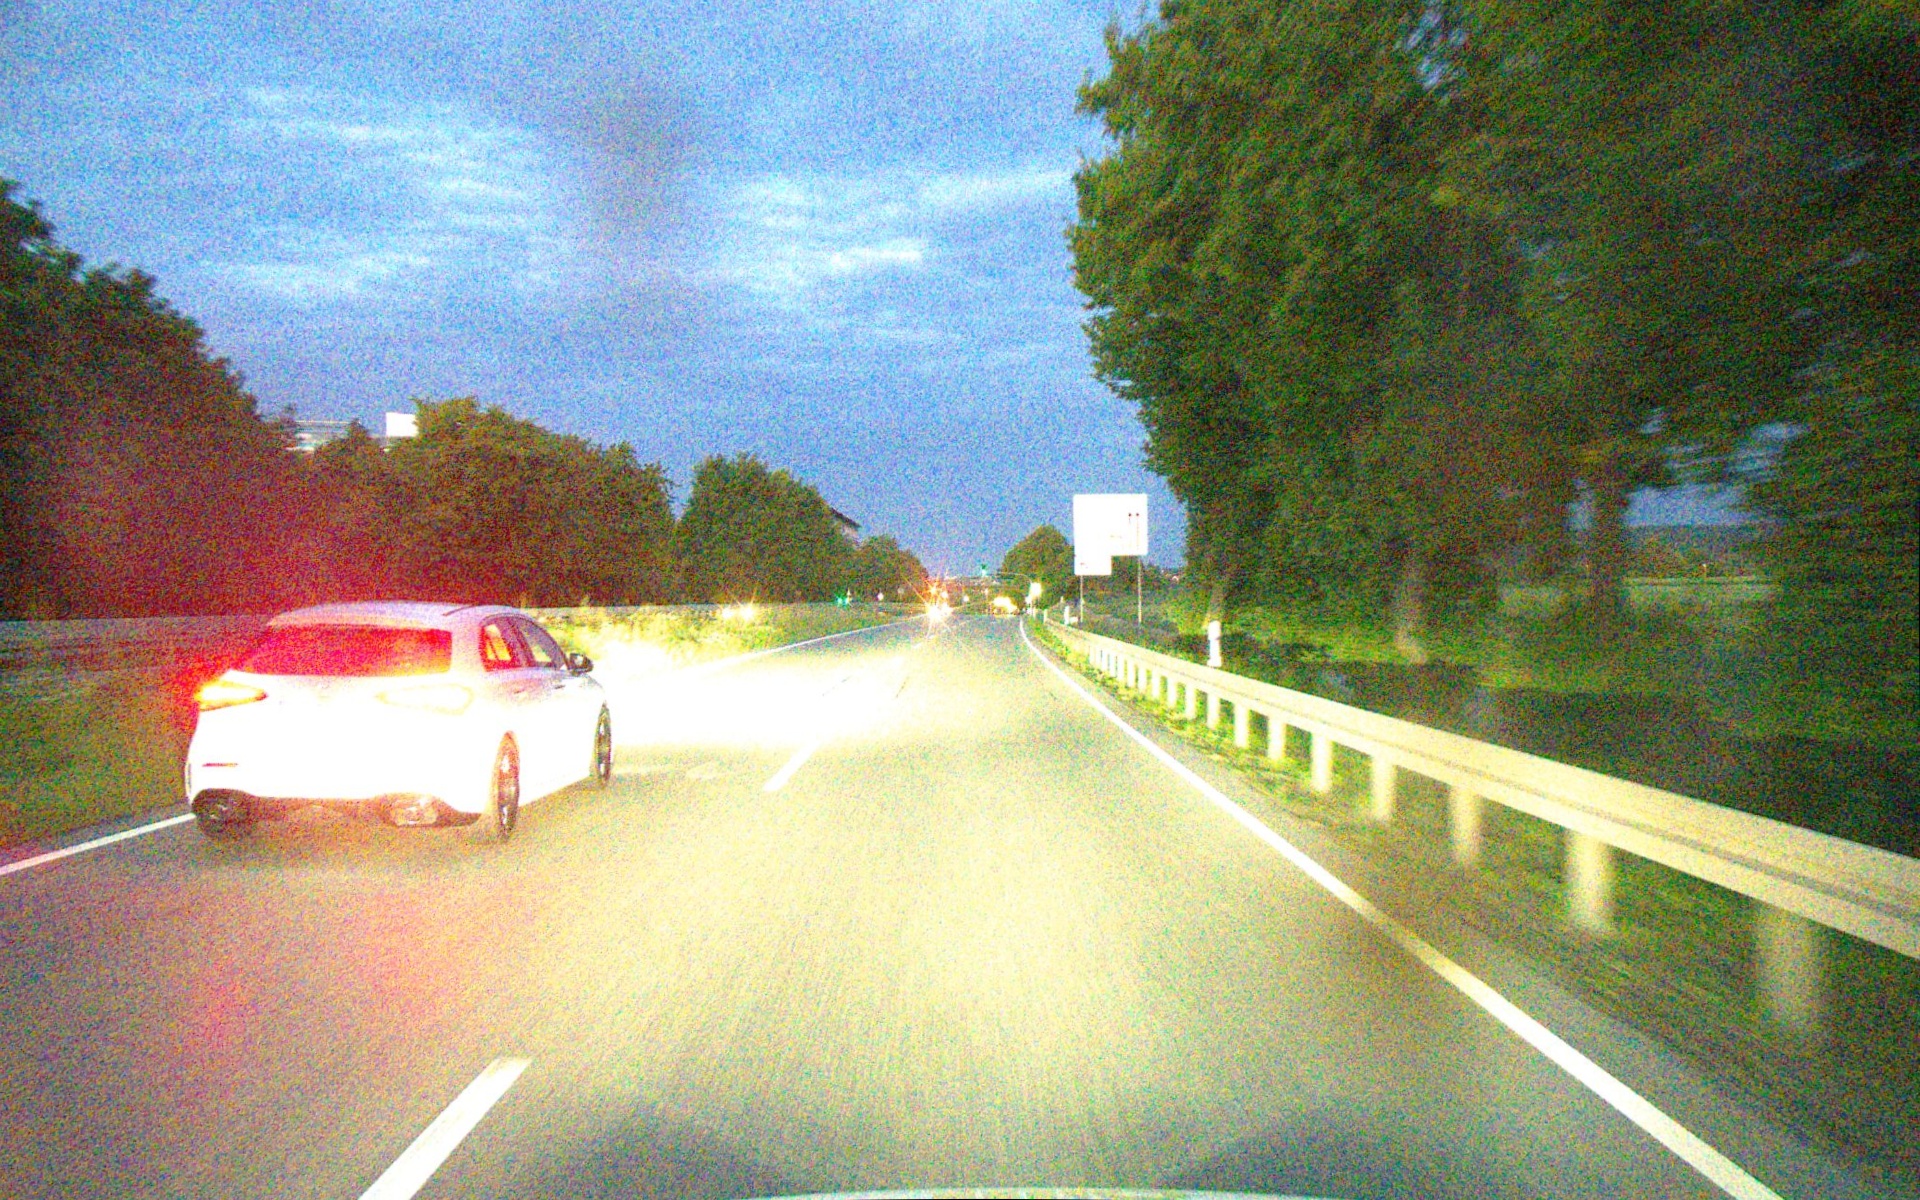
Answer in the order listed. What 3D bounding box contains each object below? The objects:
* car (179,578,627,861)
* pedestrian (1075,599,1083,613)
[{"bbox_3d":[-3.469,0.645,11.238,1.609,1.516,4.578,1,0,-2],"label":"car"},{"bbox_3d":[15.445,0.776,214.987,0.902,1.824,1.106,1,0,2],"label":"pedestrian"}]
